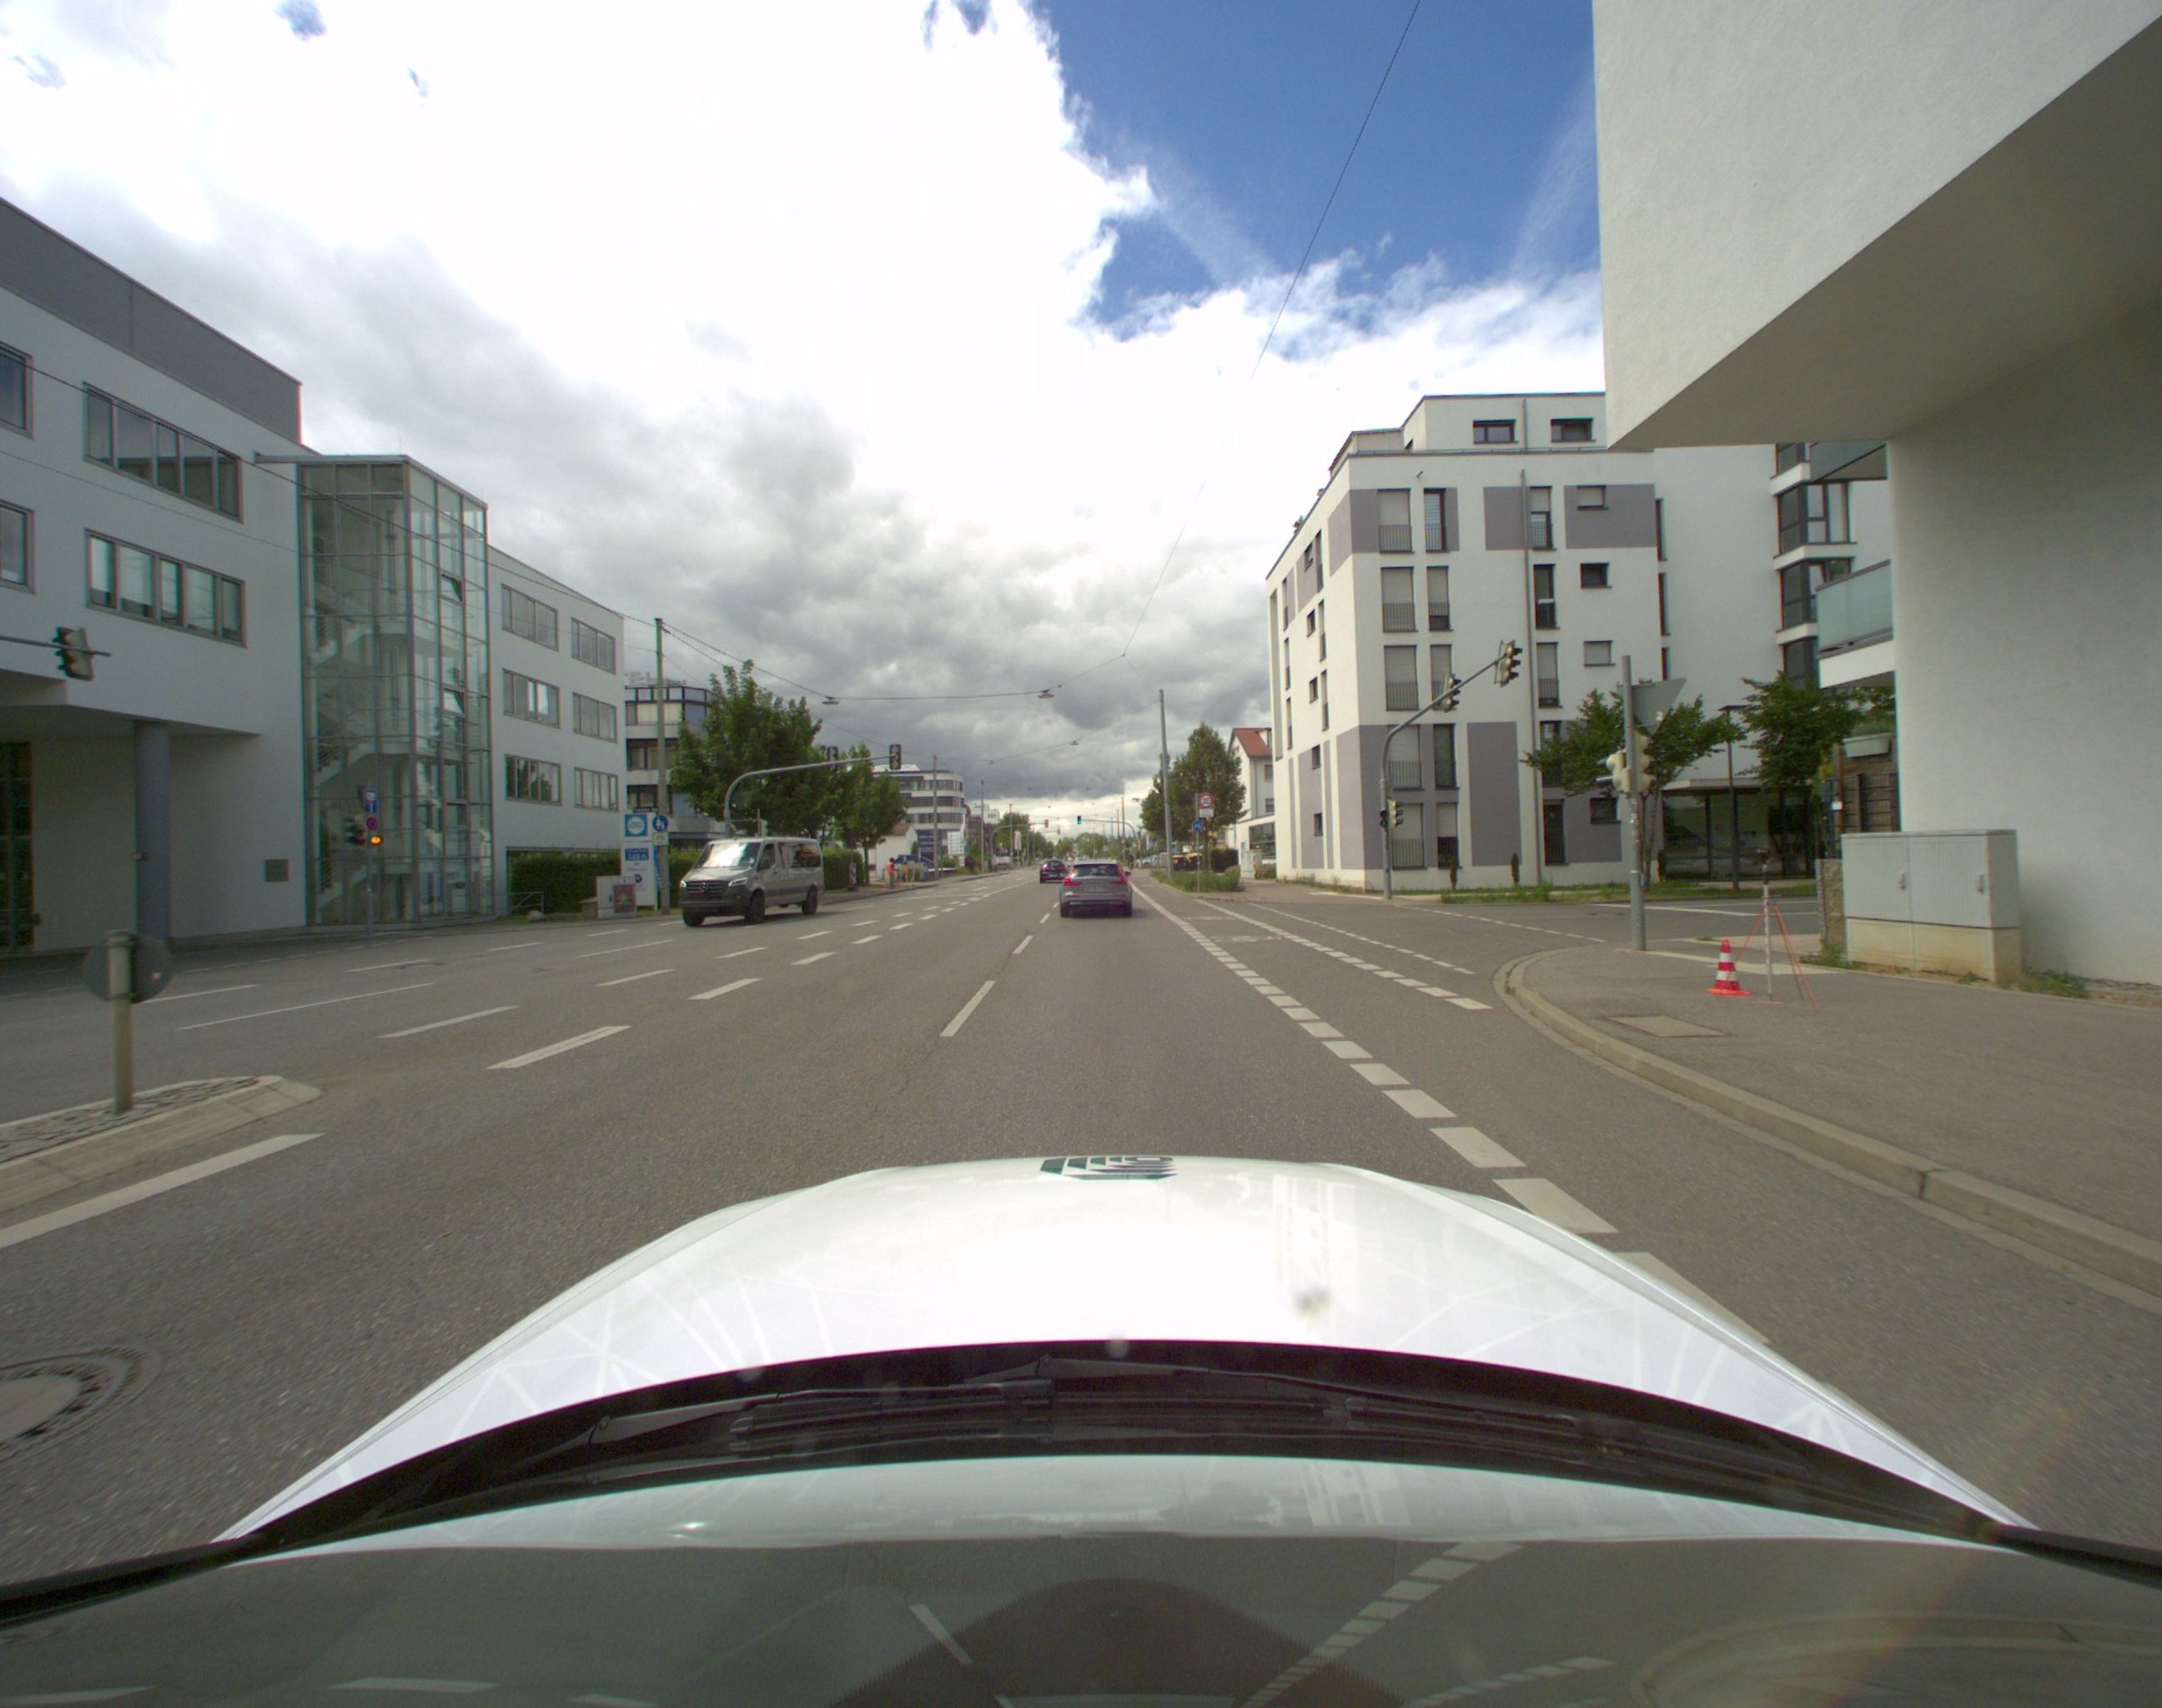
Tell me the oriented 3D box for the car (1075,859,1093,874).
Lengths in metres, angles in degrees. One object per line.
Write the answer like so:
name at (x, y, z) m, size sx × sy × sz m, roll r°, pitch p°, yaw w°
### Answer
car at (0.384, 1.422, 93.355) m, size 1.987 × 1.695 × 3.999 m, roll 1°, pitch -1°, yaw 0°

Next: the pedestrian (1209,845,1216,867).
pedestrian at (10.618, 0.178, 65.850) m, size 0.503 × 1.765 × 0.503 m, roll 0°, pitch -2°, yaw 17°

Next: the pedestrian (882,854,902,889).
pedestrian at (-11.039, 1.010, 47.519) m, size 0.717 × 2.014 × 0.815 m, roll -1°, pitch -2°, yaw 44°

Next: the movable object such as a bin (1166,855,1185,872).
movable object such as a bin at (7.797, 0.792, 67.275) m, size 1.309 × 1.361 × 1.257 m, roll -2°, pitch -2°, yaw 17°

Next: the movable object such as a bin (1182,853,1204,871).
movable object such as a bin at (9.303, 0.693, 67.591) m, size 1.306 × 1.435 × 1.259 m, roll -3°, pitch -2°, yaw 38°

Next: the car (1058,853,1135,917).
car at (0.384, 0.797, 22.035) m, size 1.889 × 1.554 × 3.999 m, roll 1°, pitch -1°, yaw 0°

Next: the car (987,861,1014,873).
car at (-12.622, 2.048, 127.500) m, size 4.089 × 1.398 × 1.904 m, roll -7°, pitch 1°, yaw -7°

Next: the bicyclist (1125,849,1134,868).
bicyclist at (4.408, 0.440, 73.509) m, size 0.636 × 1.675 × 0.890 m, roll -5°, pitch -1°, yaw 1°

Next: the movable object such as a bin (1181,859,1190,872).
movable object such as a bin at (8.740, 0.963, 68.172) m, size 0.561 × 1.026 × 0.408 m, roll -3°, pitch -2°, yaw 38°

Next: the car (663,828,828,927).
car at (-9.711, 0.648, 24.330) m, size 2.134 × 2.472 × 6.075 m, roll -3°, pitch -1°, yaw 2°

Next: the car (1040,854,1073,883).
car at (-1.509, 0.894, 50.989) m, size 1.988 × 1.717 × 3.997 m, roll 1°, pitch -1°, yaw -1°

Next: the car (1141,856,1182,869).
car at (9.531, 1.011, 96.421) m, size 4.681 × 1.493 × 2.045 m, roll 0°, pitch 0°, yaw 0°

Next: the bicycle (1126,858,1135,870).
bicycle at (4.432, 0.876, 73.393) m, size 0.635 × 1.063 × 1.978 m, roll -5°, pitch -1°, yaw 1°
